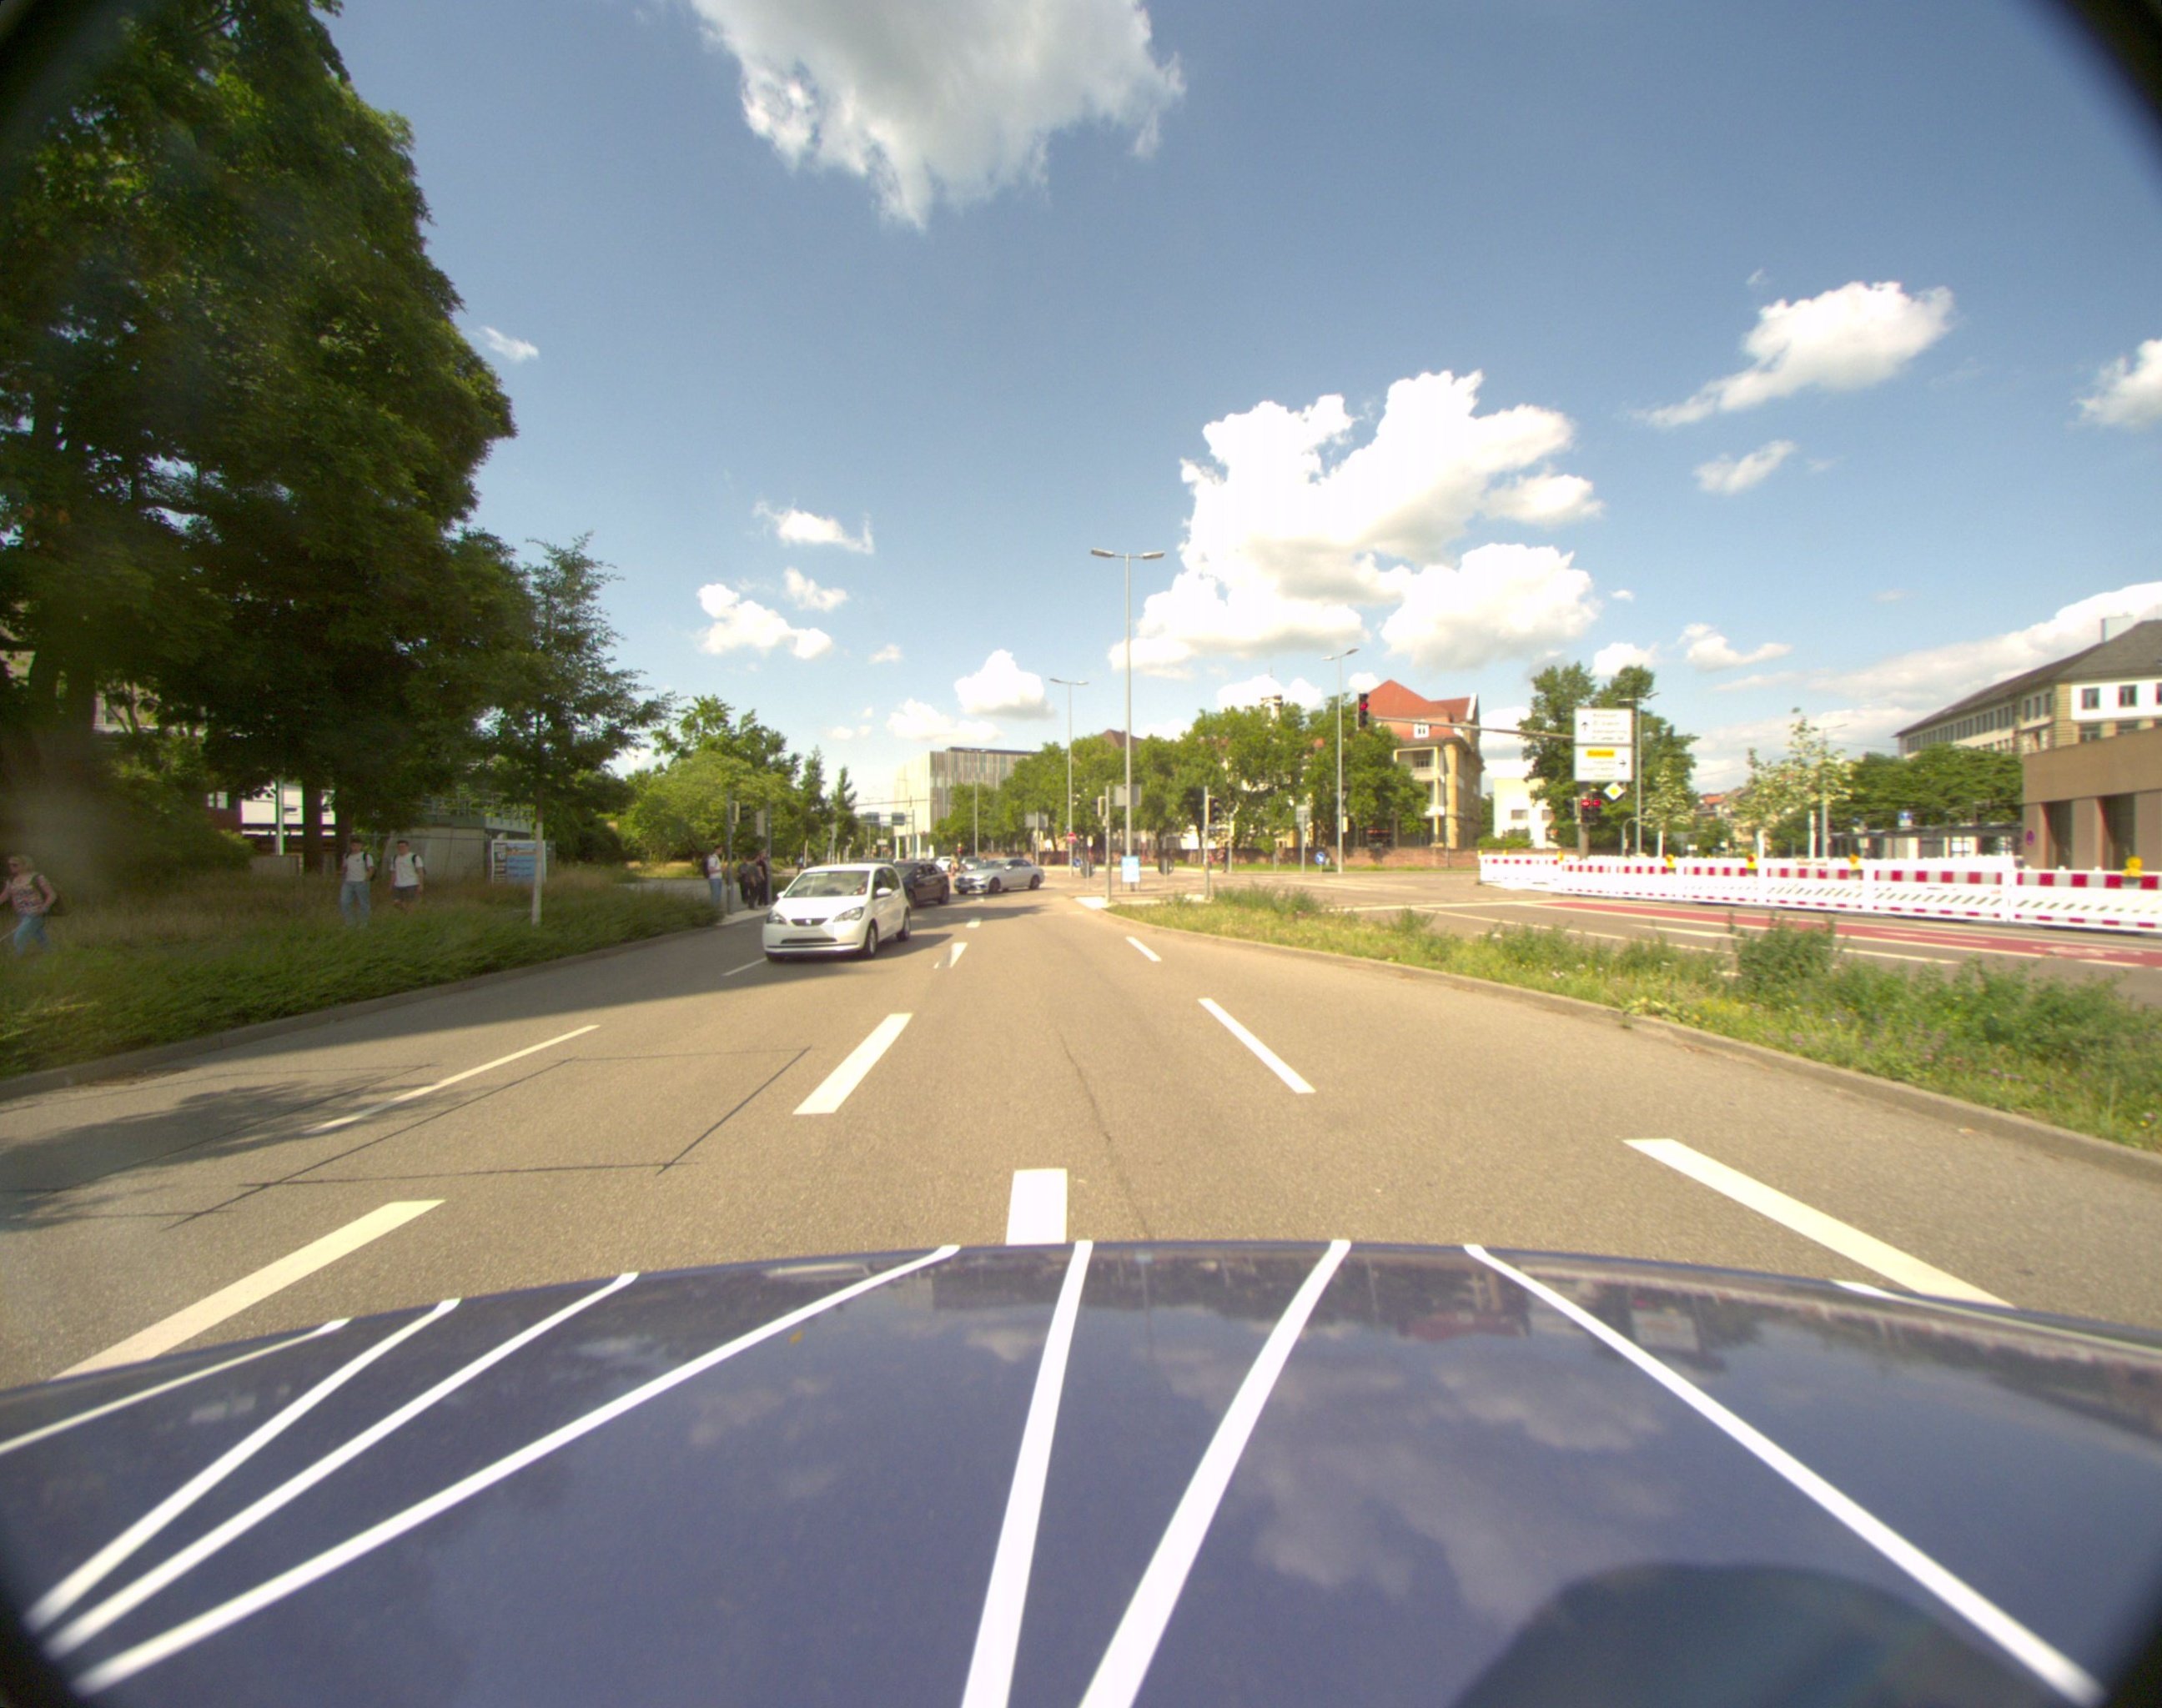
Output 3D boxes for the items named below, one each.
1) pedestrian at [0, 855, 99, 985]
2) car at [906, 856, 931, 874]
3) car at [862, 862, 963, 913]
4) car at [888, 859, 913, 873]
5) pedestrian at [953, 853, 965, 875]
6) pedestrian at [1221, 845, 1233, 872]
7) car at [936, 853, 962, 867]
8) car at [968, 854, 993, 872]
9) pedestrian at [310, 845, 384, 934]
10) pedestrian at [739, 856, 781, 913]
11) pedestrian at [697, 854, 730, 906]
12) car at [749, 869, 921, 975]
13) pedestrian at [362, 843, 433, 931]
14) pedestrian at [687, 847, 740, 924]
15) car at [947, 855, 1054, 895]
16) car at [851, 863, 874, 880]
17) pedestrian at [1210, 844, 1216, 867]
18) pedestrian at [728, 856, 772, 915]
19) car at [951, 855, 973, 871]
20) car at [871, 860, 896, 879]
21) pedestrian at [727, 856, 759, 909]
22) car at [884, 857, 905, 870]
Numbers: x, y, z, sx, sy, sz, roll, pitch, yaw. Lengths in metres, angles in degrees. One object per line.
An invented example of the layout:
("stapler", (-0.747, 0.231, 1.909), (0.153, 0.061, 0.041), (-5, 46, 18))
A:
("pedestrian", (-13.837, 0.832, 10.027), (0.616, 1.613, 0.889), (2, 1, -5))
("car", (-13.777, 0.914, 64.372), (1.828, 1.454, 3.995), (-1, 0, -15))
("car", (-5.252, 0.995, 24.294), (1.702, 1.364, 4.135), (-2, 1, 9))
("car", (-16.343, 1.054, 68.757), (1.600, 1.127, 3.622), (-1, 0, -23))
("pedestrian", (-9.672, 0.767, 60.122), (0.739, 1.704, 0.874), (-3, 1, -22))
("pedestrian", (11.144, 0.344, 57.834), (0.582, 1.982, 0.621), (-3, 1, -27))
("car", (-13.677, 0.635, 78.721), (1.781, 1.346, 3.992), (-2, 1, -23))
("car", (-8.676, 0.739, 65.294), (2.000, 1.368, 4.265), (-2, 1, -10))
("pedestrian", (-14.475, 0.673, 15.006), (0.616, 1.690, 0.889), (2, 1, -5))
("pedestrian", (-10.096, 0.945, 23.930), (0.928, 1.725, 0.768), (-2, 1, -2))
("pedestrian", (-12.549, 0.881, 25.957), (0.768, 1.725, 0.718), (-2, 1, -8))
("car", (-4.020, 1.032, 13.128), (1.653, 1.413, 3.999), (-1, 0, 0))
("pedestrian", (-13.654, 0.636, 15.199), (0.616, 1.690, 0.889), (2, 1, -5))
("pedestrian", (-9.934, 0.838, 20.567), (0.965, 2.002, 0.768), (-2, 1, -2))
("car", (-3.310, 0.841, 32.225), (1.931, 1.447, 4.768), (0, 1, 33))
("car", (-19.751, 1.564, 68.789), (1.827, 1.454, 3.995), (-1, 0, -13))
("pedestrian", (10.325, 0.125, 59.410), (0.369, 1.722, 0.450), (-2, 1, -4))
("pedestrian", (-10.087, 0.960, 23.153), (0.928, 1.725, 0.768), (-2, 1, -2))
("car", (-11.270, 0.842, 71.956), (1.734, 1.327, 3.784), (-2, 1, -13))
("car", (-16.224, 1.219, 62.414), (1.827, 1.454, 3.995), (-1, 0, -13))
("pedestrian", (-11.513, 0.958, 25.902), (0.768, 1.725, 0.718), (-2, 1, -8))
("car", (-18.412, 0.928, 75.102), (1.911, 1.127, 4.096), (-1, 2, -13))
